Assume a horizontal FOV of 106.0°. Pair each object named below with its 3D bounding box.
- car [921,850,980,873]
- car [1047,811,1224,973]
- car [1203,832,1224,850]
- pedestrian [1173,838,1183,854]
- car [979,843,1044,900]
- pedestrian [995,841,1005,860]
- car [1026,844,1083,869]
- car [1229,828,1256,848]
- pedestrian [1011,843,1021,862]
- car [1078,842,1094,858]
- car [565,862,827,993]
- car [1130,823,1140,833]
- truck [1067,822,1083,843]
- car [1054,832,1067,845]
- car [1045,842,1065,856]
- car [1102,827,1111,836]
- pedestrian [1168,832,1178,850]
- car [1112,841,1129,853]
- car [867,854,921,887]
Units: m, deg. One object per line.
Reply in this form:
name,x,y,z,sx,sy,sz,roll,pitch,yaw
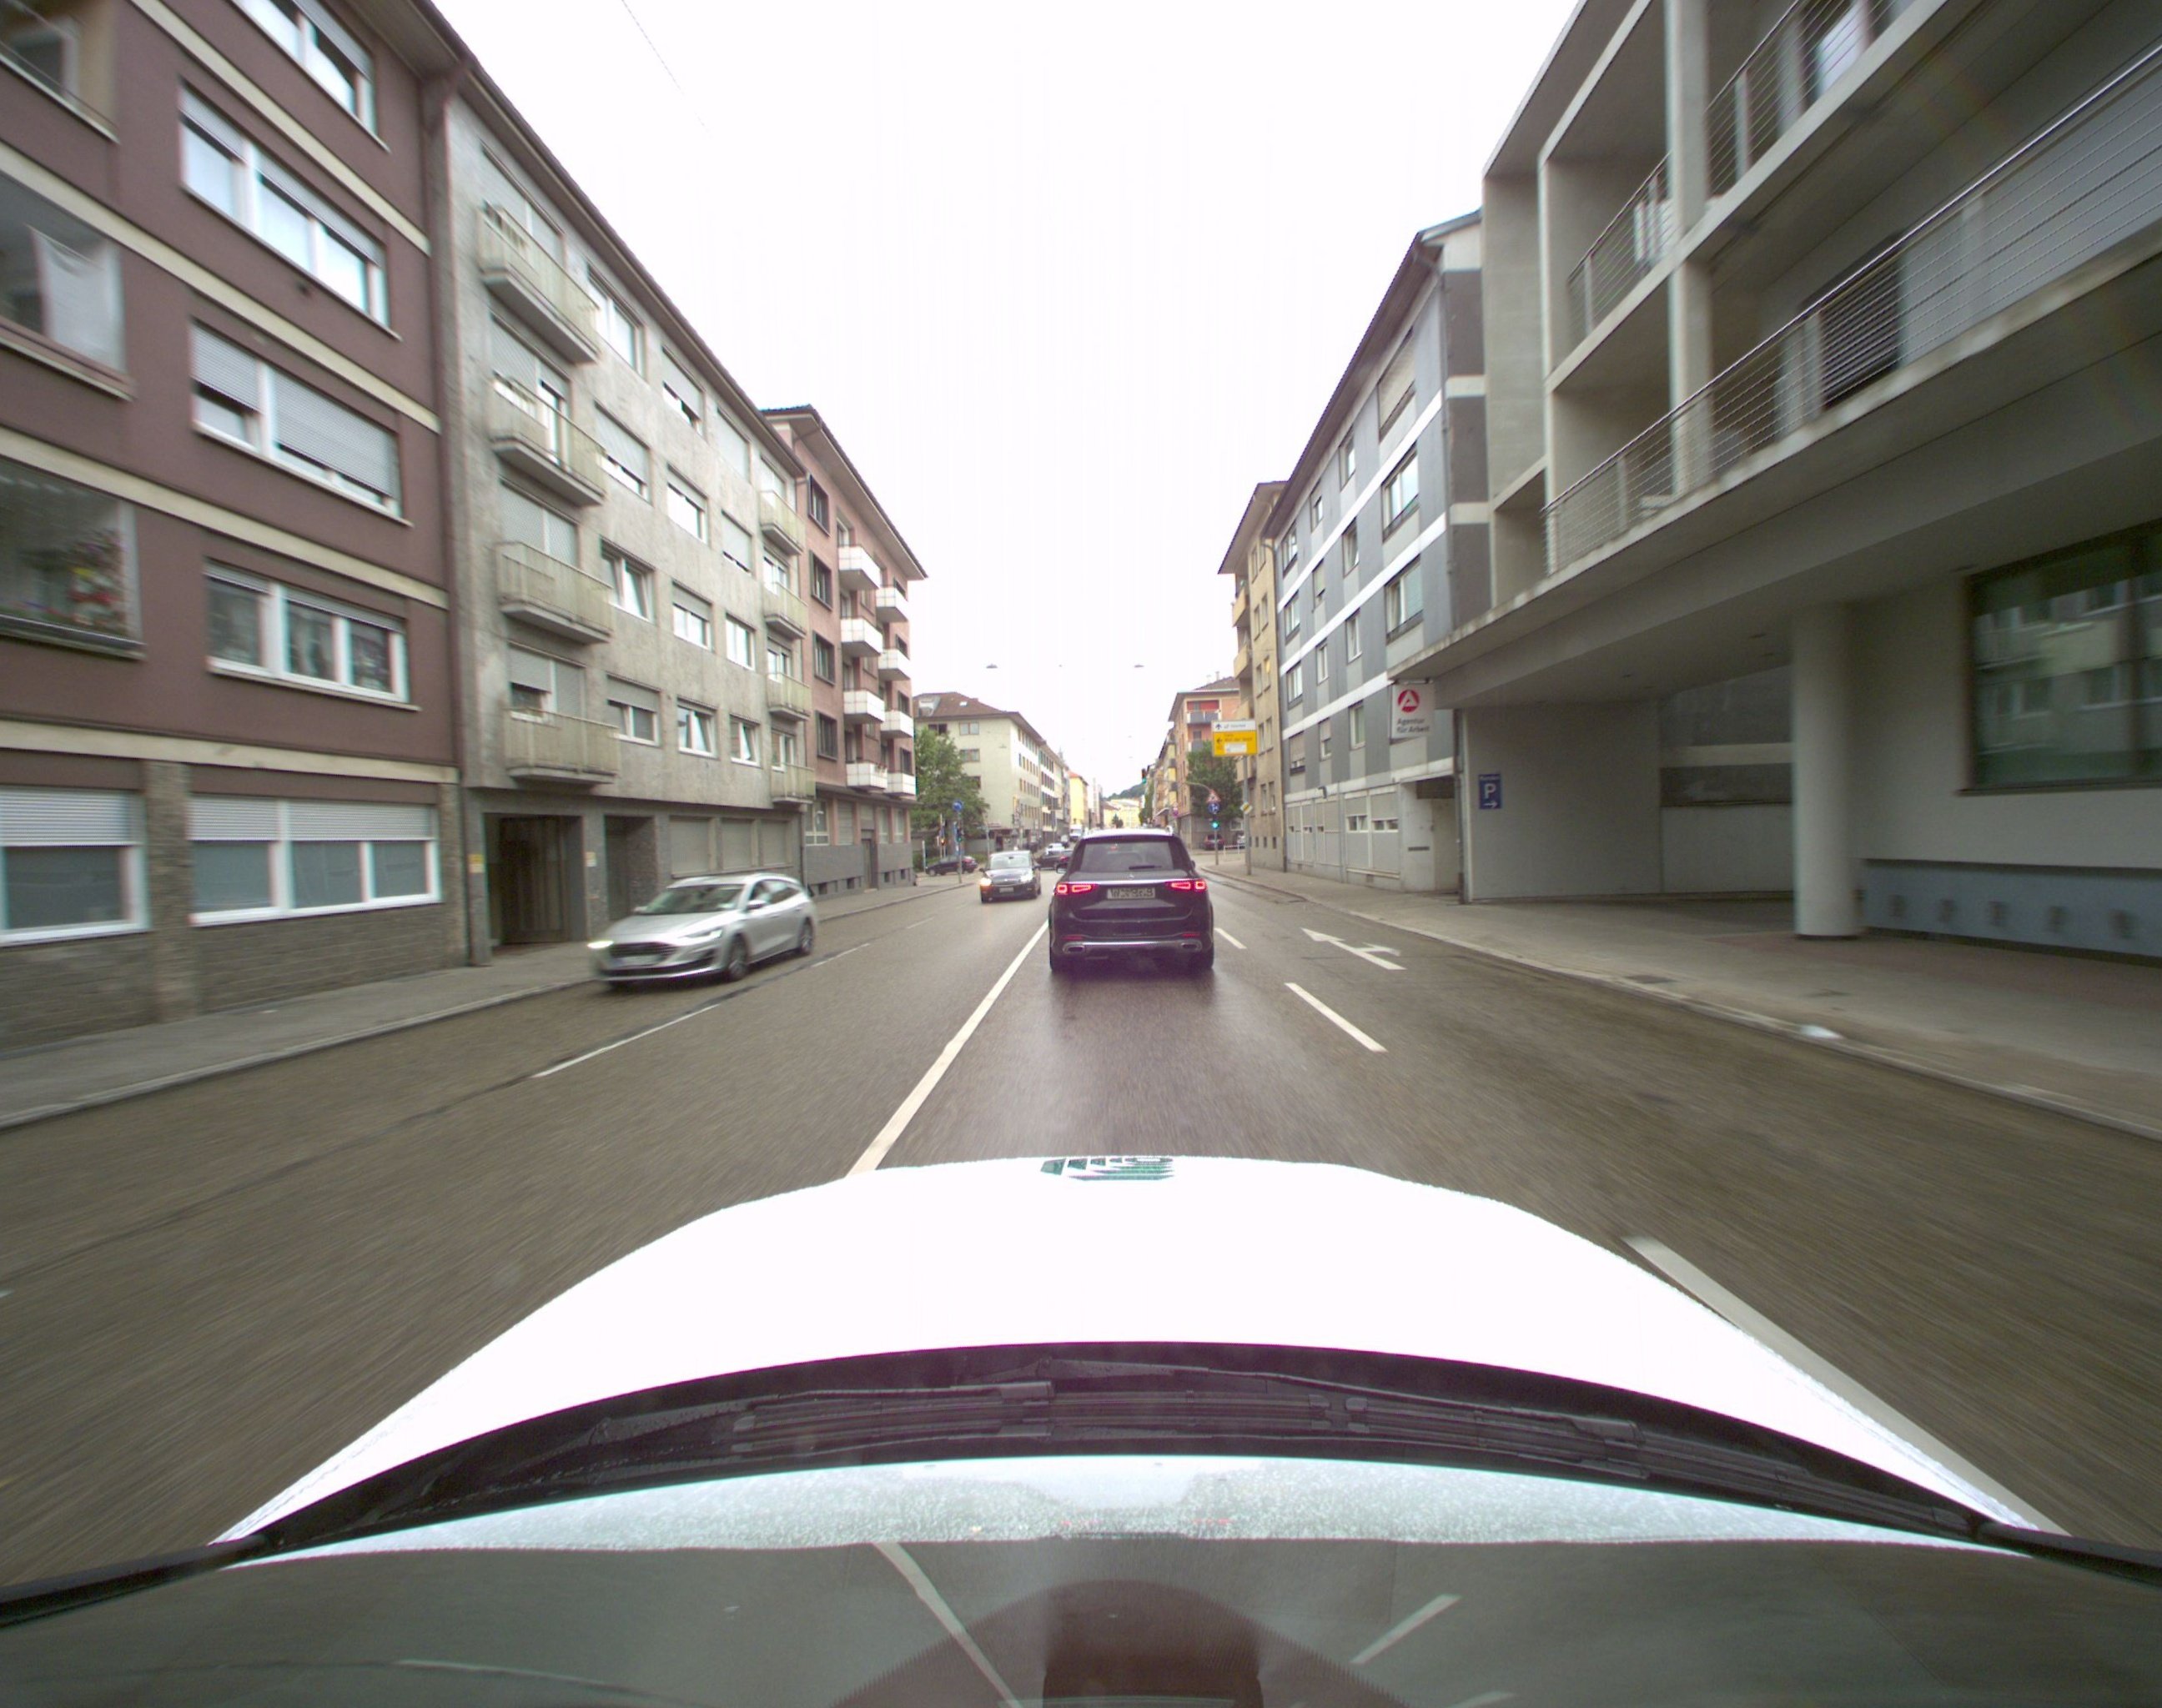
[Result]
car,-10.520,0.609,65.750,4.305,1.539,1.788,-4,-1,24
car,0.701,0.439,11.369,1.977,1.805,4.392,1,0,2
car,12.573,-1.204,77.393,1.663,1.588,3.334,-2,0,4
pedestrian,10.789,-0.901,90.357,0.920,1.804,0.706,-2,0,0
car,-2.289,0.526,27.748,1.767,1.645,4.410,-4,1,-1
pedestrian,-8.498,-0.389,85.427,0.920,1.902,0.706,-2,0,0
car,-1.978,0.183,59.464,1.788,1.539,4.306,-3,-1,-41
car,15.281,-1.466,77.284,1.816,1.795,3.833,-2,0,1
pedestrian,-6.172,-0.157,77.809,0.630,1.764,0.777,-2,0,19
car,0.515,-0.422,84.379,1.613,1.539,4.217,-3,0,0
car,-5.558,0.951,12.499,1.766,1.539,4.360,-3,0,1
car,11.203,-5.370,168.512,1.718,1.759,4.217,-3,0,0
truck,-1.007,-3.676,140.332,2.471,3.046,9.918,-3,0,0
car,-2.825,-2.173,114.925,1.613,1.539,4.217,-3,0,0
car,-2.684,-0.536,84.046,1.879,1.264,4.217,-3,0,0
car,5.478,-4.774,173.999,1.613,1.539,4.217,-3,0,0
pedestrian,10.711,-1.498,94.732,0.920,2.013,0.706,-2,0,0
car,4.789,-0.885,99.655,1.986,1.351,4.001,-3,0,1
car,-10.828,0.918,47.515,1.986,1.673,4.261,-3,0,2
